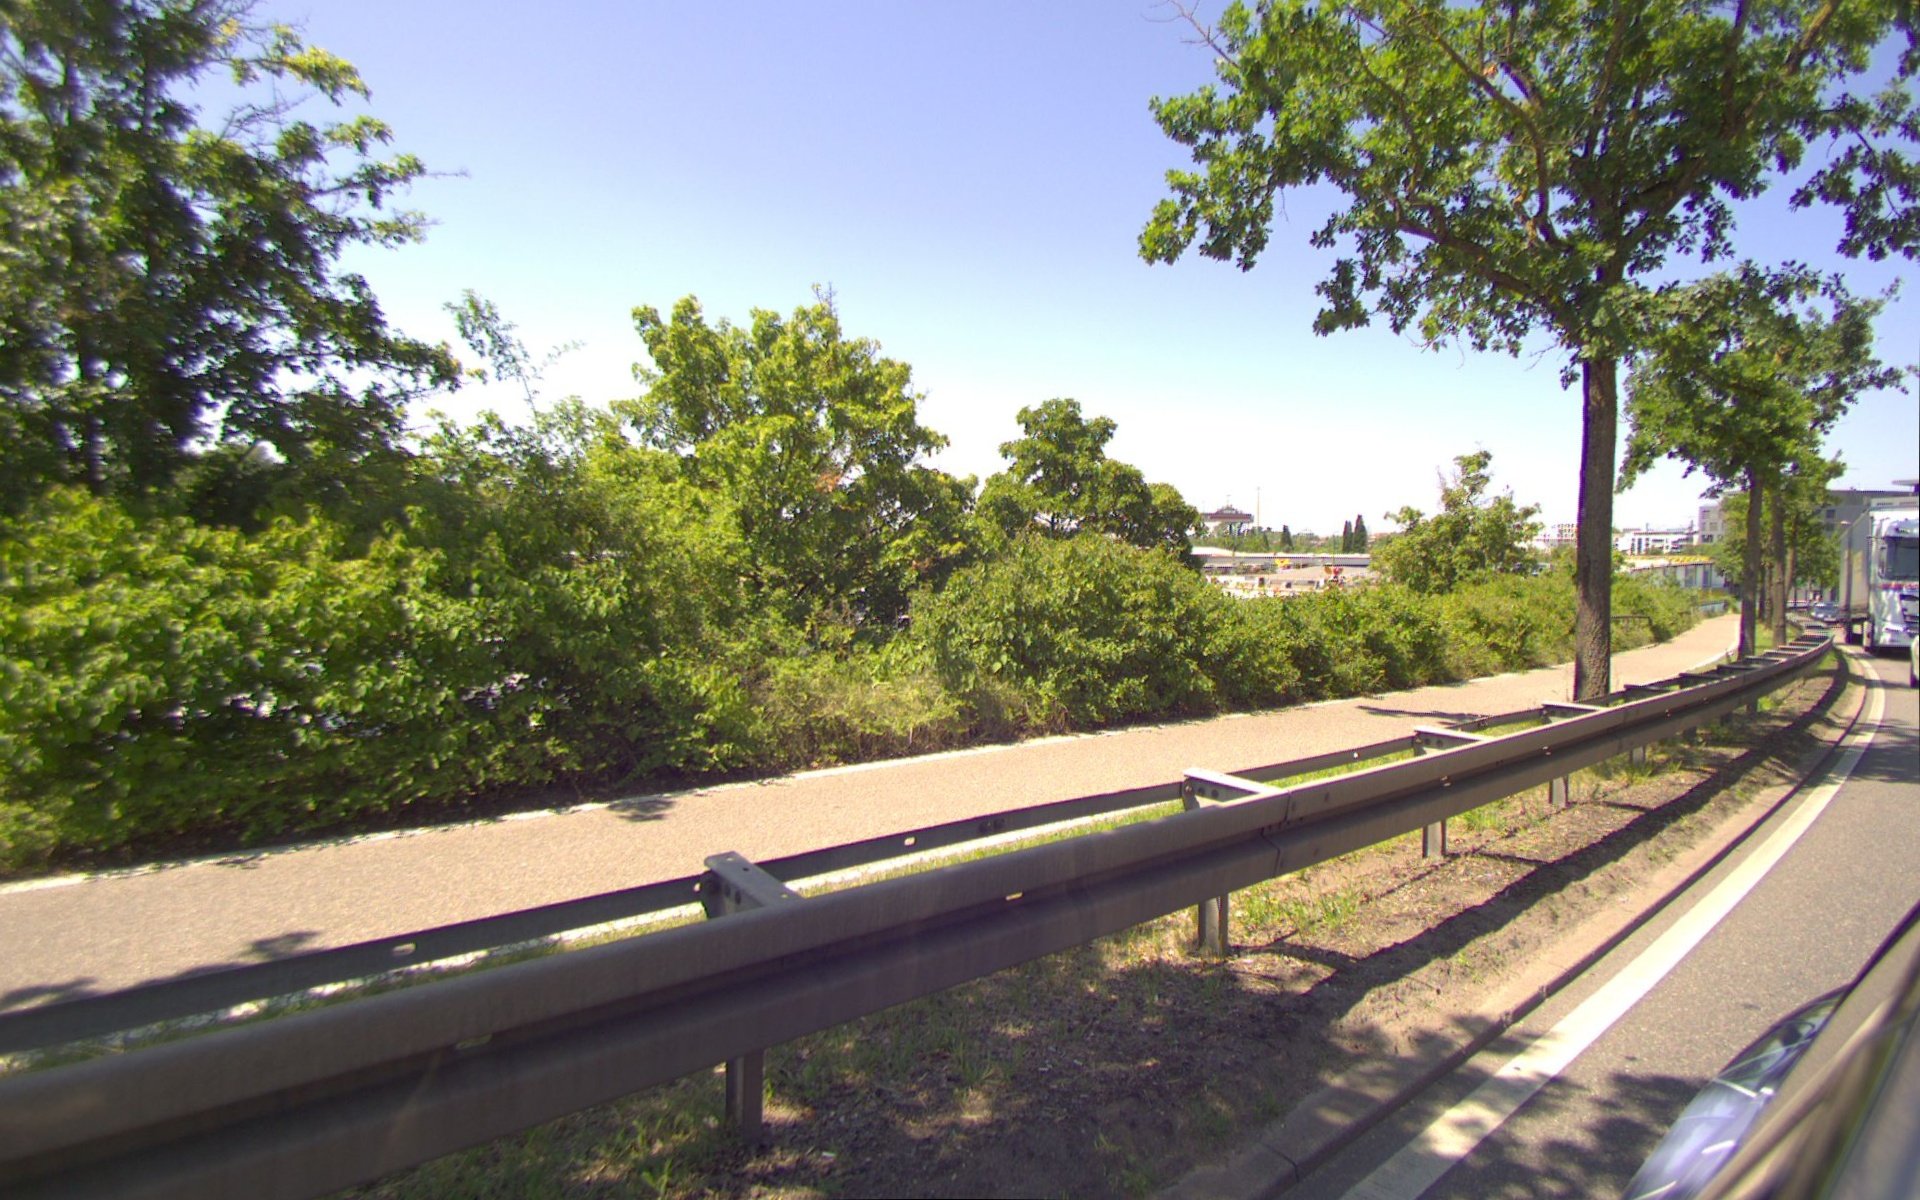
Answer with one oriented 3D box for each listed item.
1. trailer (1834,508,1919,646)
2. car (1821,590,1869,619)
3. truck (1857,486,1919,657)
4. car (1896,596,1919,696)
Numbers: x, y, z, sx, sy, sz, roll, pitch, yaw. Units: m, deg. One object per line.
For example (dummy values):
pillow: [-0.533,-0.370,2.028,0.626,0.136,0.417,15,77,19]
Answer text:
trailer: [34.049,-0.753,36.768,2.868,4.267,13.813,1,1,38]
car: [51.213,0.256,58.543,1.970,1.596,3.938,1,1,43]
truck: [27.589,-0.736,28.569,2.845,4.322,8.693,1,0,38]
car: [15.644,0.673,15.346,3.651,1.446,1.814,0,1,-42]
